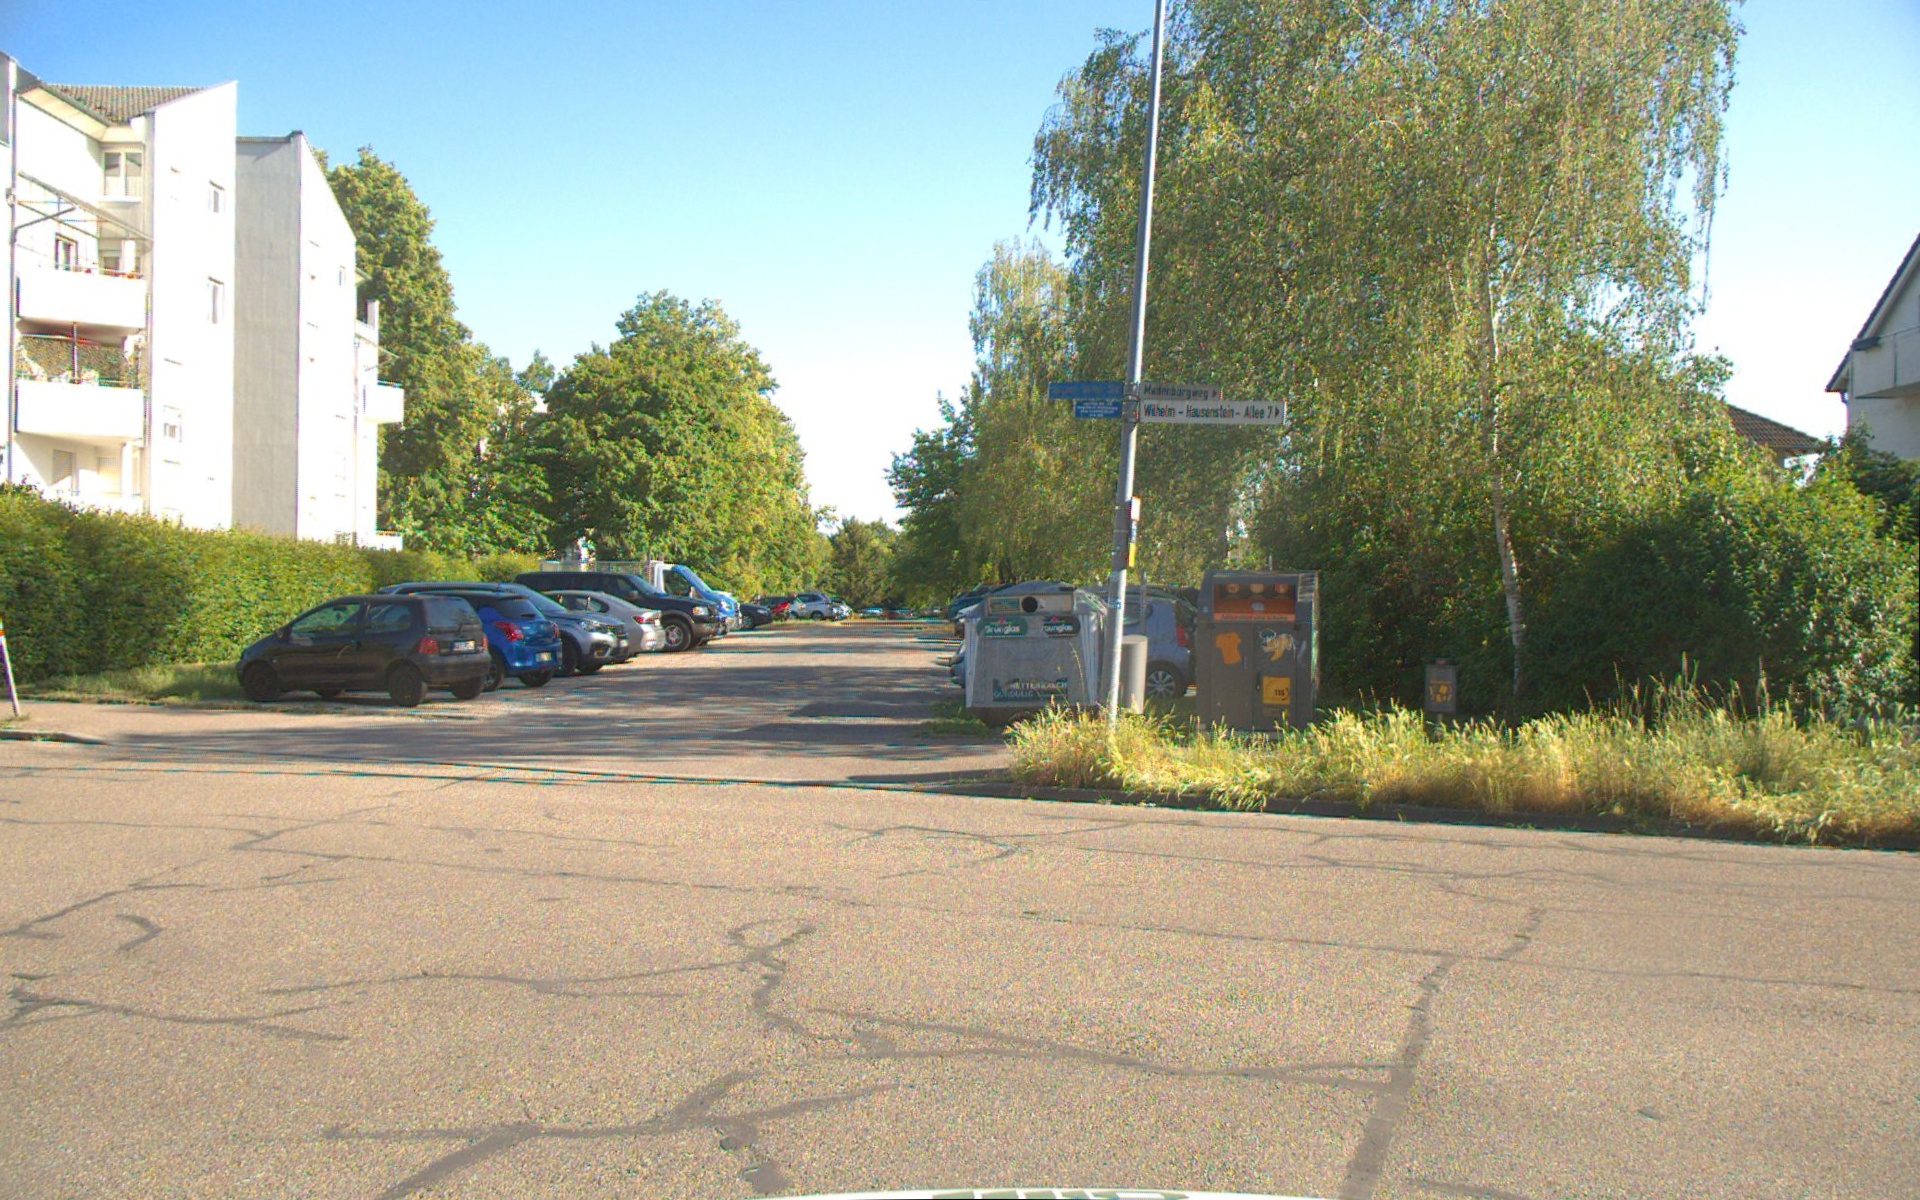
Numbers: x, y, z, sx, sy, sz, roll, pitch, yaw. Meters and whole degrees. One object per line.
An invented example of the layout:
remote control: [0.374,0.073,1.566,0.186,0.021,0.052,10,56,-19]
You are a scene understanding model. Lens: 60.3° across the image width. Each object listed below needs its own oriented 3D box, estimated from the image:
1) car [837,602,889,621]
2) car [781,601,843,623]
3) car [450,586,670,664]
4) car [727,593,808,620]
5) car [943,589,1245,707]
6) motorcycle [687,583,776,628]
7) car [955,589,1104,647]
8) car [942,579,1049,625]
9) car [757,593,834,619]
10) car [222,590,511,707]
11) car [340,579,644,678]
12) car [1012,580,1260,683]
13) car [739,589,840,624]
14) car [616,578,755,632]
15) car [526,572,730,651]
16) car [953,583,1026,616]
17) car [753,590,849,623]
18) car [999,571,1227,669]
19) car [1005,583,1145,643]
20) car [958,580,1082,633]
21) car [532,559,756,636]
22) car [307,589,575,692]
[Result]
car: [-6.842,0.802,116.430,3.570,1.234,1.847,0,0,-1]
car: [-9.542,0.755,106.876,3.859,1.357,1.847,0,0,-1]
car: [-8.041,0.502,33.523,4.060,1.480,1.618,-1,0,-3]
car: [-9.754,0.327,83.992,3.859,1.357,1.847,0,0,-1]
car: [1.904,0.637,23.045,3.966,1.464,1.636,2,0,13]
motorcycle: [-8.400,0.191,60.908,3.125,1.624,0.923,0,0,1]
car: [1.867,0.482,44.321,3.903,1.425,1.798,1,-1,3]
car: [1.360,0.078,61.856,3.903,1.613,1.798,1,-1,3]
car: [-8.653,0.300,87.342,3.859,1.357,1.847,0,0,-1]
car: [-8.244,0.631,23.041,3.448,1.492,1.705,1,1,17]
car: [-8.285,0.490,29.528,4.886,1.683,1.785,0,0,5]
car: [2.990,0.522,28.559,3.974,1.631,1.789,1,1,-6]
car: [-6.852,0.265,66.780,3.859,1.357,1.847,0,0,-1]
car: [-9.391,0.152,56.722,4.429,1.802,1.847,0,0,1]
car: [-7.887,0.259,39.558,4.427,1.802,1.848,0,0,5]
car: [1.644,-0.011,90.416,3.903,1.738,1.798,1,-1,3]
car: [-6.691,0.269,69.856,3.859,1.357,1.847,0,0,-1]
car: [2.867,0.360,31.519,4.025,1.736,1.788,1,1,-7]
car: [3.298,0.382,47.530,3.903,1.613,1.798,1,-1,3]
car: [1.936,0.220,53.316,3.903,1.613,1.798,1,-1,3]
car: [-9.166,-0.076,48.437,6.130,2.184,2.410,0,0,-2]
car: [-7.990,0.607,25.586,3.601,1.522,1.652,0,0,13]
